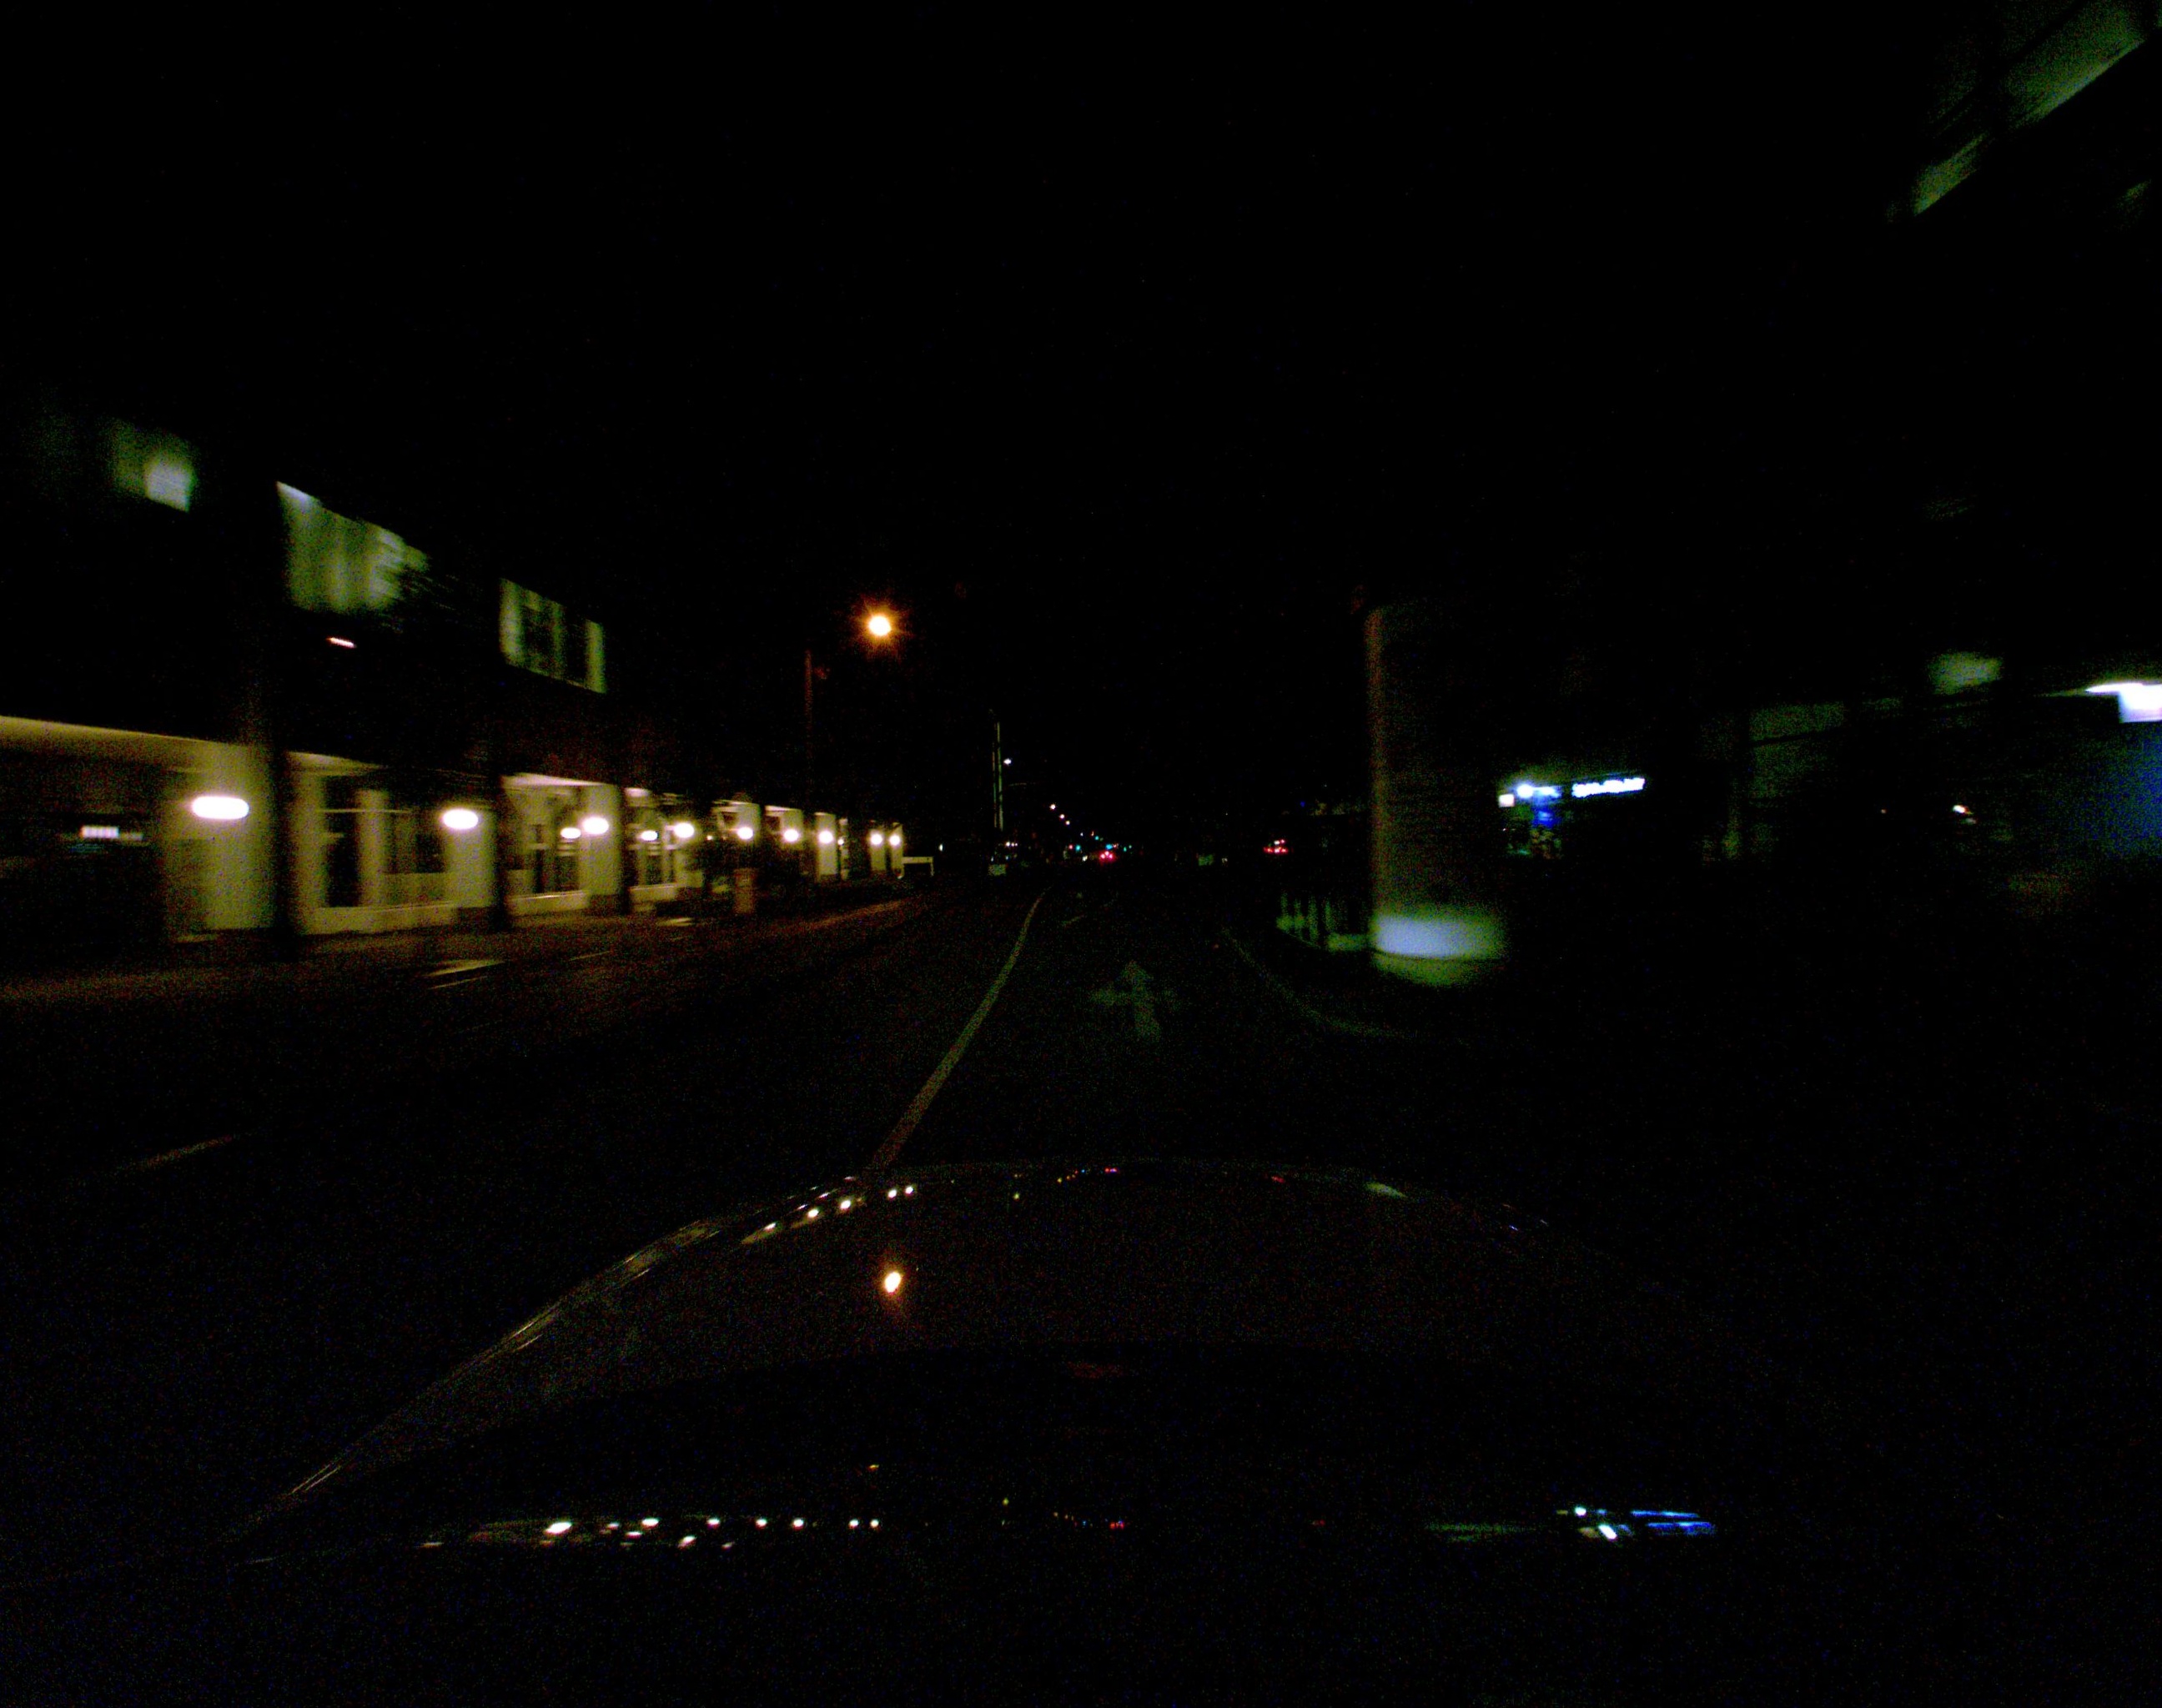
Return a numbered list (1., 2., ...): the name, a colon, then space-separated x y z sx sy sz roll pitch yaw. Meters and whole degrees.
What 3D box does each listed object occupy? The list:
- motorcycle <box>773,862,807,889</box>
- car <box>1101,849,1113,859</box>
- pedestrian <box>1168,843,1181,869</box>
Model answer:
1. motorcycle: -11.773 0.856 33.013 0.475 1.020 1.681 -2 0 12
2. car: 4.740 -0.015 149.458 1.987 1.643 4.001 -3 0 1
3. pedestrian: 6.723 0.131 58.564 0.700 1.818 1.082 -3 0 1
